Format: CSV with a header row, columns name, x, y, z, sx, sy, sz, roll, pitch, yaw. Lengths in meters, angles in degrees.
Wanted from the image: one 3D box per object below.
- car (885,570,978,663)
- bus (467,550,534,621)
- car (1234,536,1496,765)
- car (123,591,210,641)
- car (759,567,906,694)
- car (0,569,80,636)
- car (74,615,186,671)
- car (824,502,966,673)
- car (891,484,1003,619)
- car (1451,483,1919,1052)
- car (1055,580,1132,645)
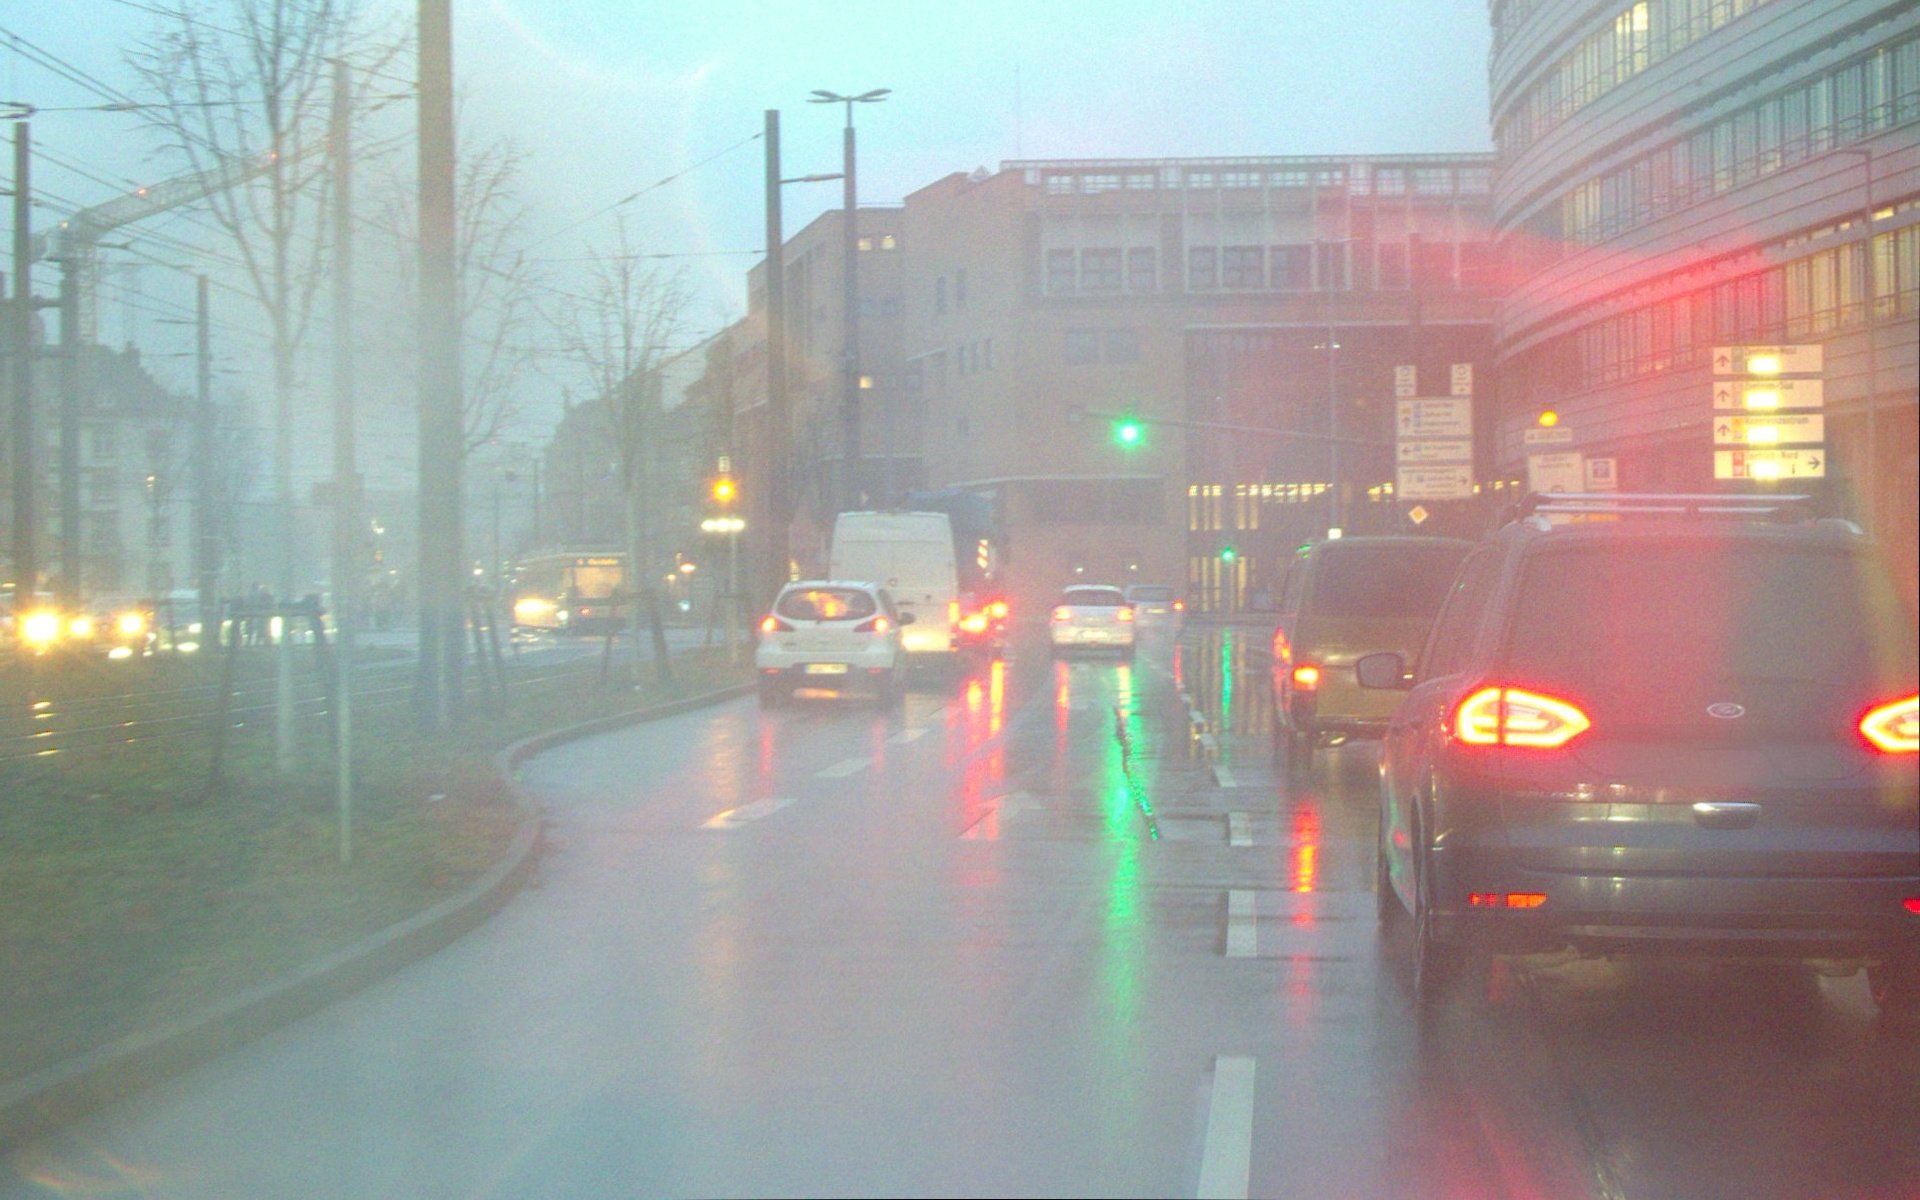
name,x,y,z,sx,sy,sz,roll,pitch,yaw
car,-0.509,0.291,58.539,1.518,1.515,3.470,0,-1,-1
bus,-22.416,-0.712,167.481,2.822,3.361,8.002,0,0,-11
car,3.381,0.389,29.428,1.844,1.800,4.486,0,0,2
car,-23.397,0.455,101.492,1.993,1.445,4.316,0,0,-6
car,-1.570,0.350,43.279,1.638,1.491,3.685,0,1,1
car,-19.518,0.070,72.282,1.506,1.368,3.653,0,-1,-7
car,-21.561,1.111,89.420,1.729,1.388,4.199,0,0,2
car,-1.026,-0.188,51.840,1.993,2.419,5.975,0,0,-2
car,-0.300,-1.019,75.391,2.355,2.817,6.359,0,0,0
car,2.796,0.514,12.740,1.674,1.773,3.999,-1,0,5
car,2.759,0.243,70.715,1.512,1.301,3.040,0,0,3
